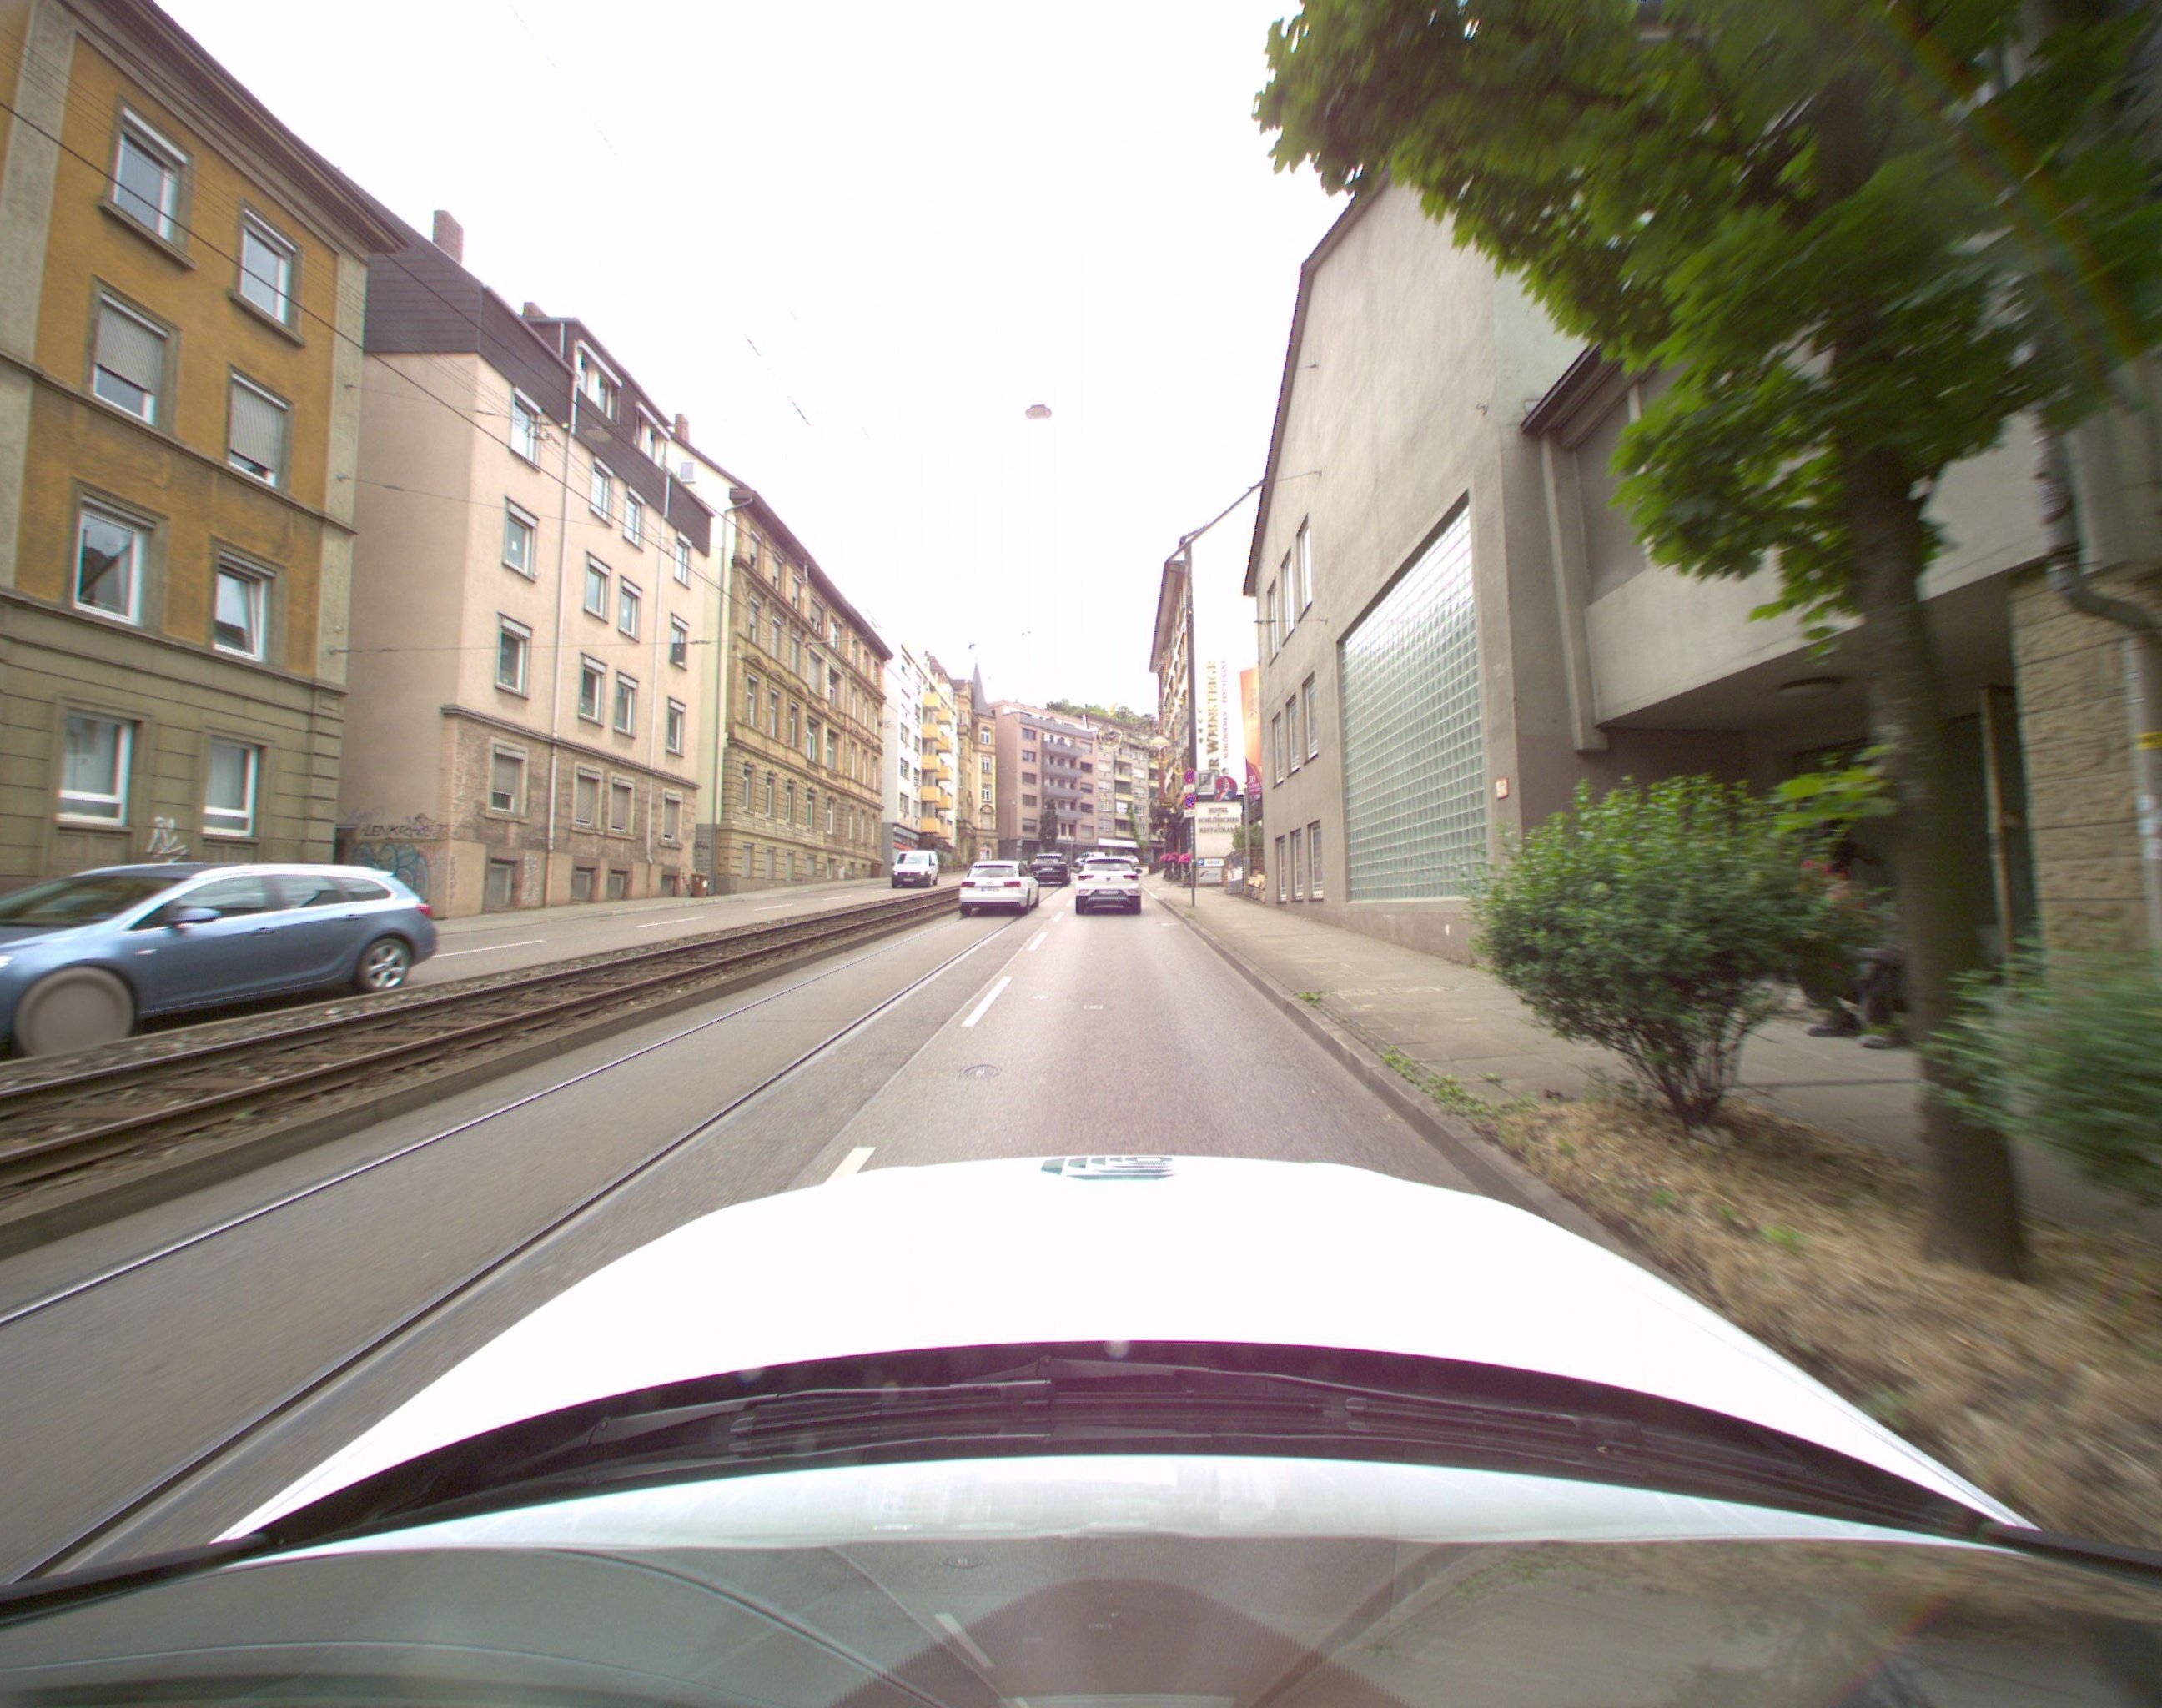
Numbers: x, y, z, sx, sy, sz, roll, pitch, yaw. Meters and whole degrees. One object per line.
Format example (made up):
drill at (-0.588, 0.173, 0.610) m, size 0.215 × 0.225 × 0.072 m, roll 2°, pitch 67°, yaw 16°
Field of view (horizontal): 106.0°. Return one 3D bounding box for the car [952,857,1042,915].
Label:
car at (-2.274, 0.838, 23.181) m, size 1.871 × 1.455 × 4.620 m, roll 0°, pitch 0°, yaw 2°

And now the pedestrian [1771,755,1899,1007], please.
pedestrian at (5.962, 0.203, 6.473) m, size 0.605 × 1.875 × 0.595 m, roll -1°, pitch 0°, yaw 29°

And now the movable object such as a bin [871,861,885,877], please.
movable object such as a bin at (-13.347, 0.985, 53.584) m, size 0.767 × 1.074 × 0.561 m, roll 0°, pitch 0°, yaw 2°

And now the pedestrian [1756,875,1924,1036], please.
pedestrian at (4.905, 0.630, 5.295) m, size 0.523 × 0.965 × 0.608 m, roll 0°, pitch 0°, yaw 2°

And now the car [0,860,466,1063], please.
car at (-8.742, 0.810, 7.937) m, size 1.836 × 1.455 × 4.663 m, roll 0°, pitch 0°, yaw 2°

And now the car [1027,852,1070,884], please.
car at (-1.616, 0.694, 42.199) m, size 2.031 × 1.571 × 4.357 m, roll -1°, pitch 0°, yaw 0°

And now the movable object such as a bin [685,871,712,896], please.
movable object such as a bin at (-14.424, 1.102, 30.751) m, size 0.626 × 0.911 × 0.677 m, roll 3°, pitch 0°, yaw 2°

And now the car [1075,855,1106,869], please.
car at (1.214, 0.970, 99.593) m, size 1.776 × 1.728 × 4.025 m, roll -1°, pitch 0°, yaw 37°

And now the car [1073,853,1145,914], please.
car at (0.797, 0.773, 23.141) m, size 1.872 × 1.554 × 4.002 m, roll 0°, pitch 0°, yaw 2°

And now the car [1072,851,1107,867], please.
car at (1.123, 0.662, 105.549) m, size 1.974 × 2.035 × 4.731 m, roll -1°, pitch 0°, yaw 40°

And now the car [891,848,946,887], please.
car at (-8.519, 0.666, 43.047) m, size 1.952 × 1.900 × 5.315 m, roll 0°, pitch 0°, yaw -2°

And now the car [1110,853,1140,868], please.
car at (5.967, 0.855, 110.014) m, size 1.885 × 1.922 × 4.463 m, roll -1°, pitch 0°, yaw 39°
